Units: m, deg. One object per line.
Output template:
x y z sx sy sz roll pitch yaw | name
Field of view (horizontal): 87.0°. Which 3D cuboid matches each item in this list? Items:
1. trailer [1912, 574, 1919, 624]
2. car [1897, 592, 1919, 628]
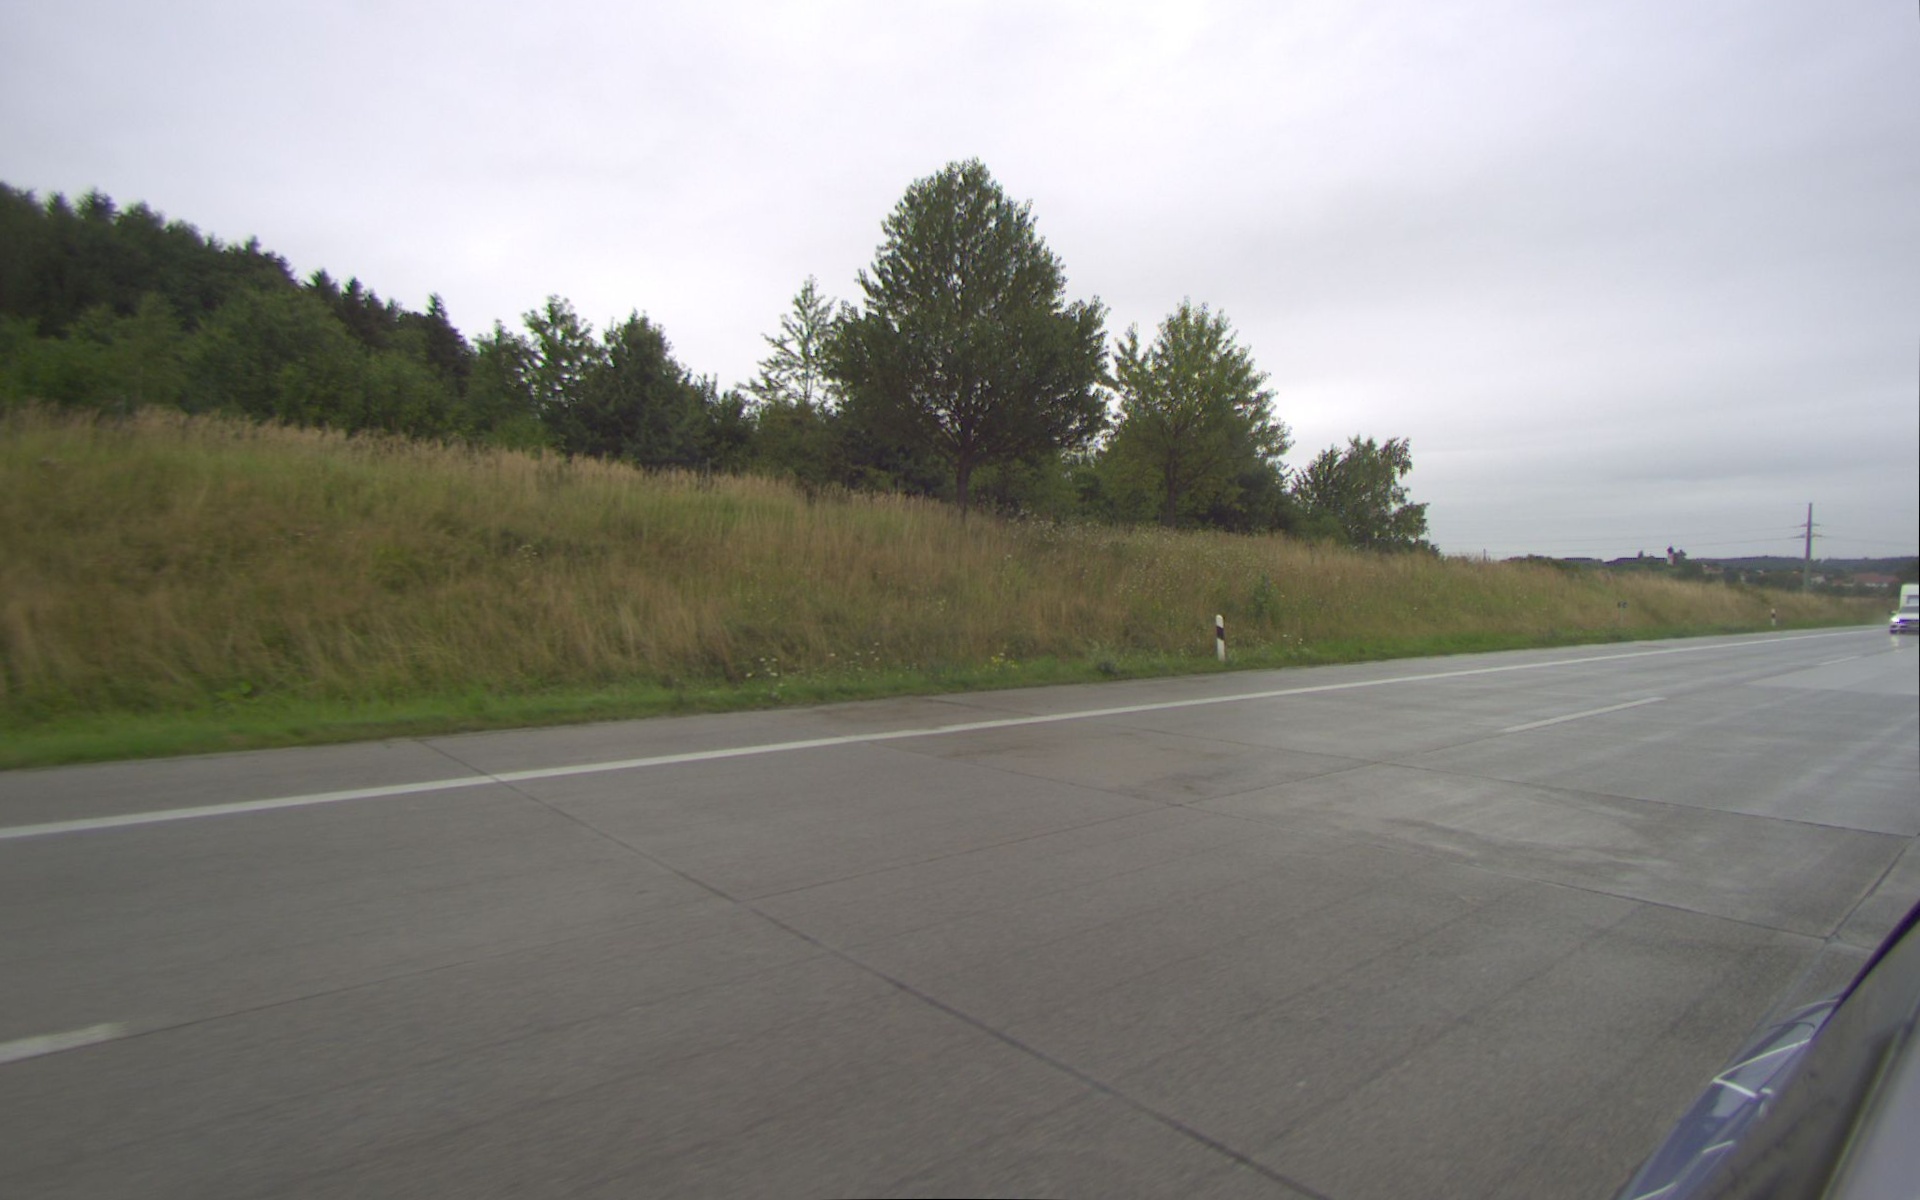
51.104 -0.053 52.121 5.836 2.489 2.348 -2 3 -41 | trailer
46.577 0.452 48.334 5.848 1.605 1.997 -1 0 -41 | car
